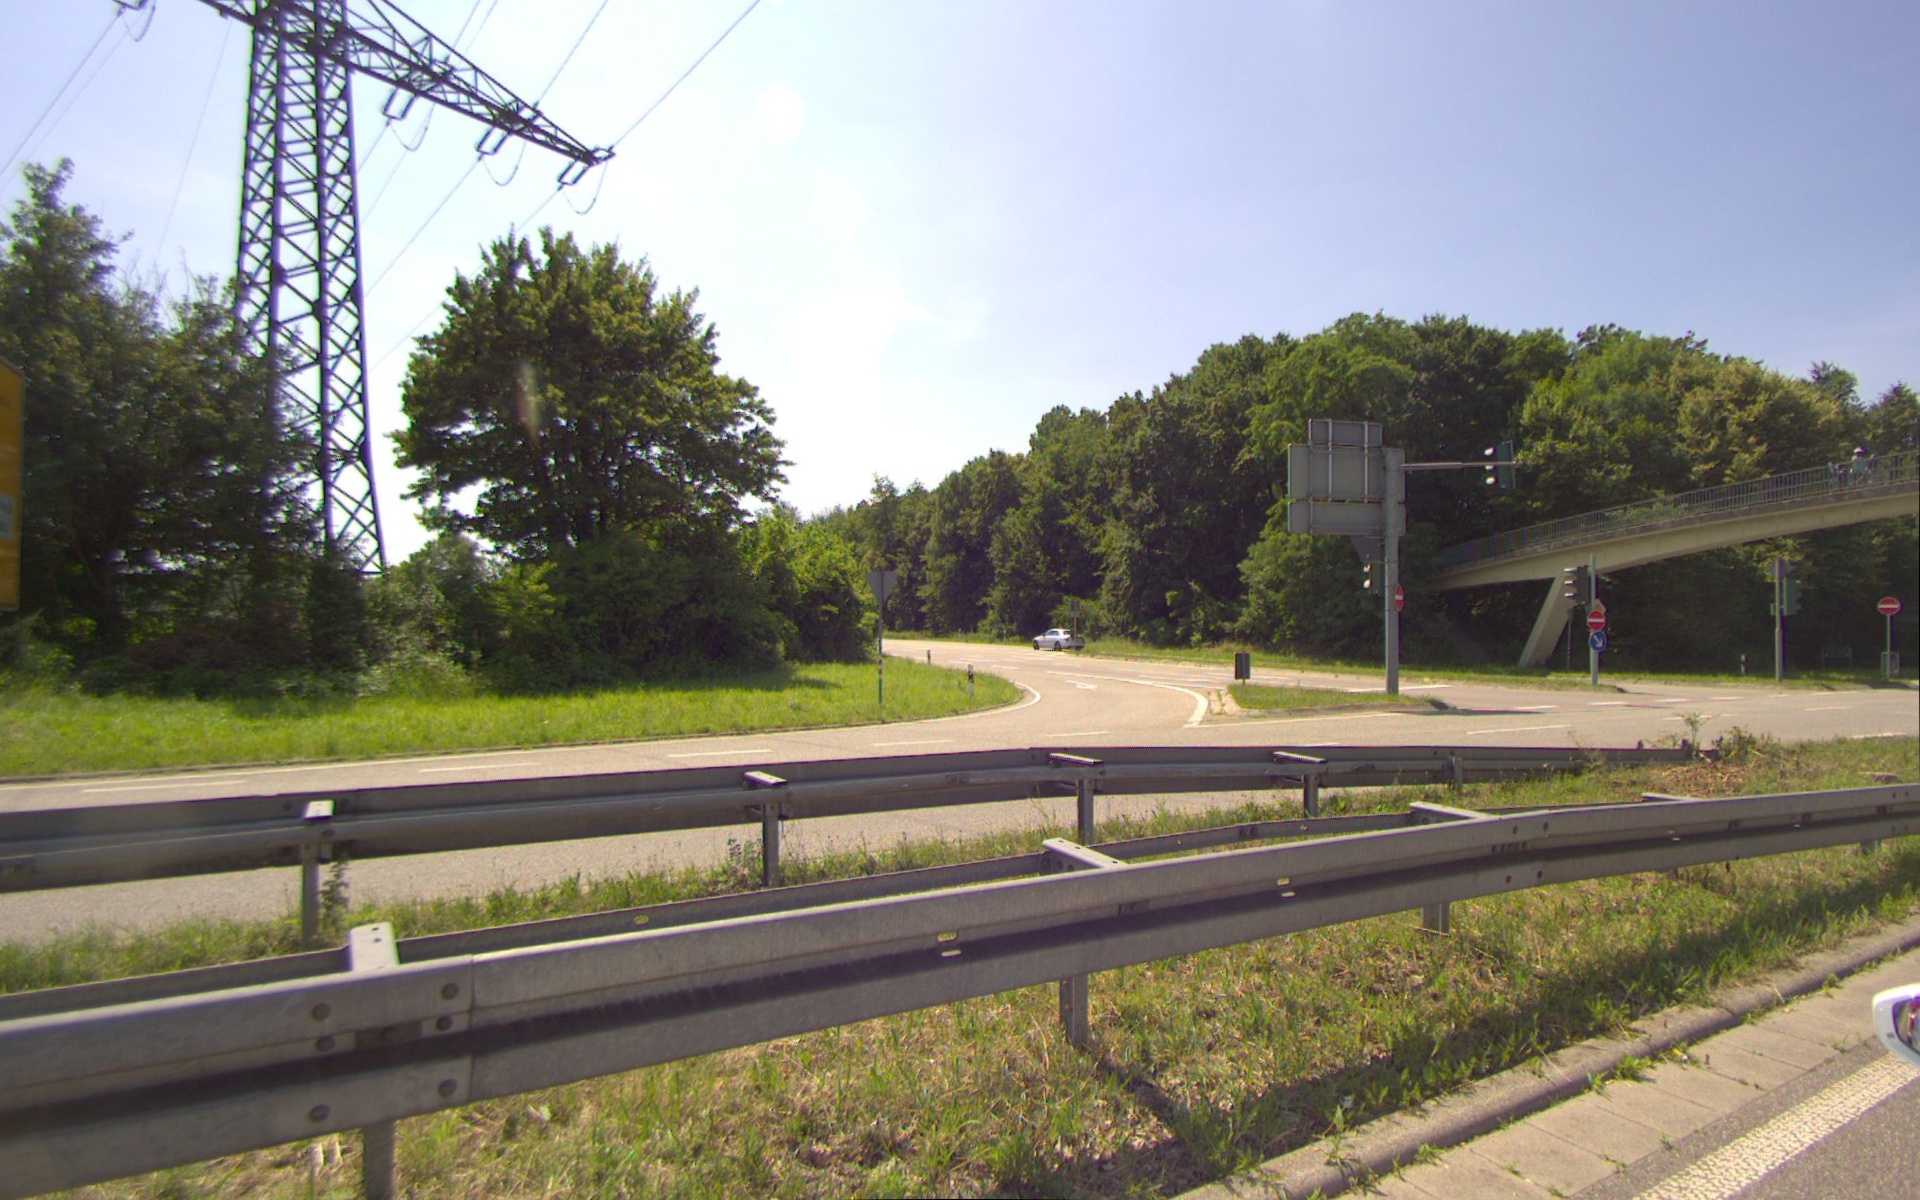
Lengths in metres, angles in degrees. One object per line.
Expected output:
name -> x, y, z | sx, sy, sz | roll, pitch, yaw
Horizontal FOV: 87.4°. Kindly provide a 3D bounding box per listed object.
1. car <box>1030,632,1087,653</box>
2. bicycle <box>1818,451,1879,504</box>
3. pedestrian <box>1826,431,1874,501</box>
car -> 6.570, 2.835, 67.566 | 1.969, 1.391, 4.761 | 1, -2, -19
bicycle -> 29.773, -4.098, 33.694 | 0.462, 1.493, 1.528 | 2, -3, -14
pedestrian -> 29.975, -4.505, 33.836 | 0.916, 2.167, 0.783 | 2, -3, -14
